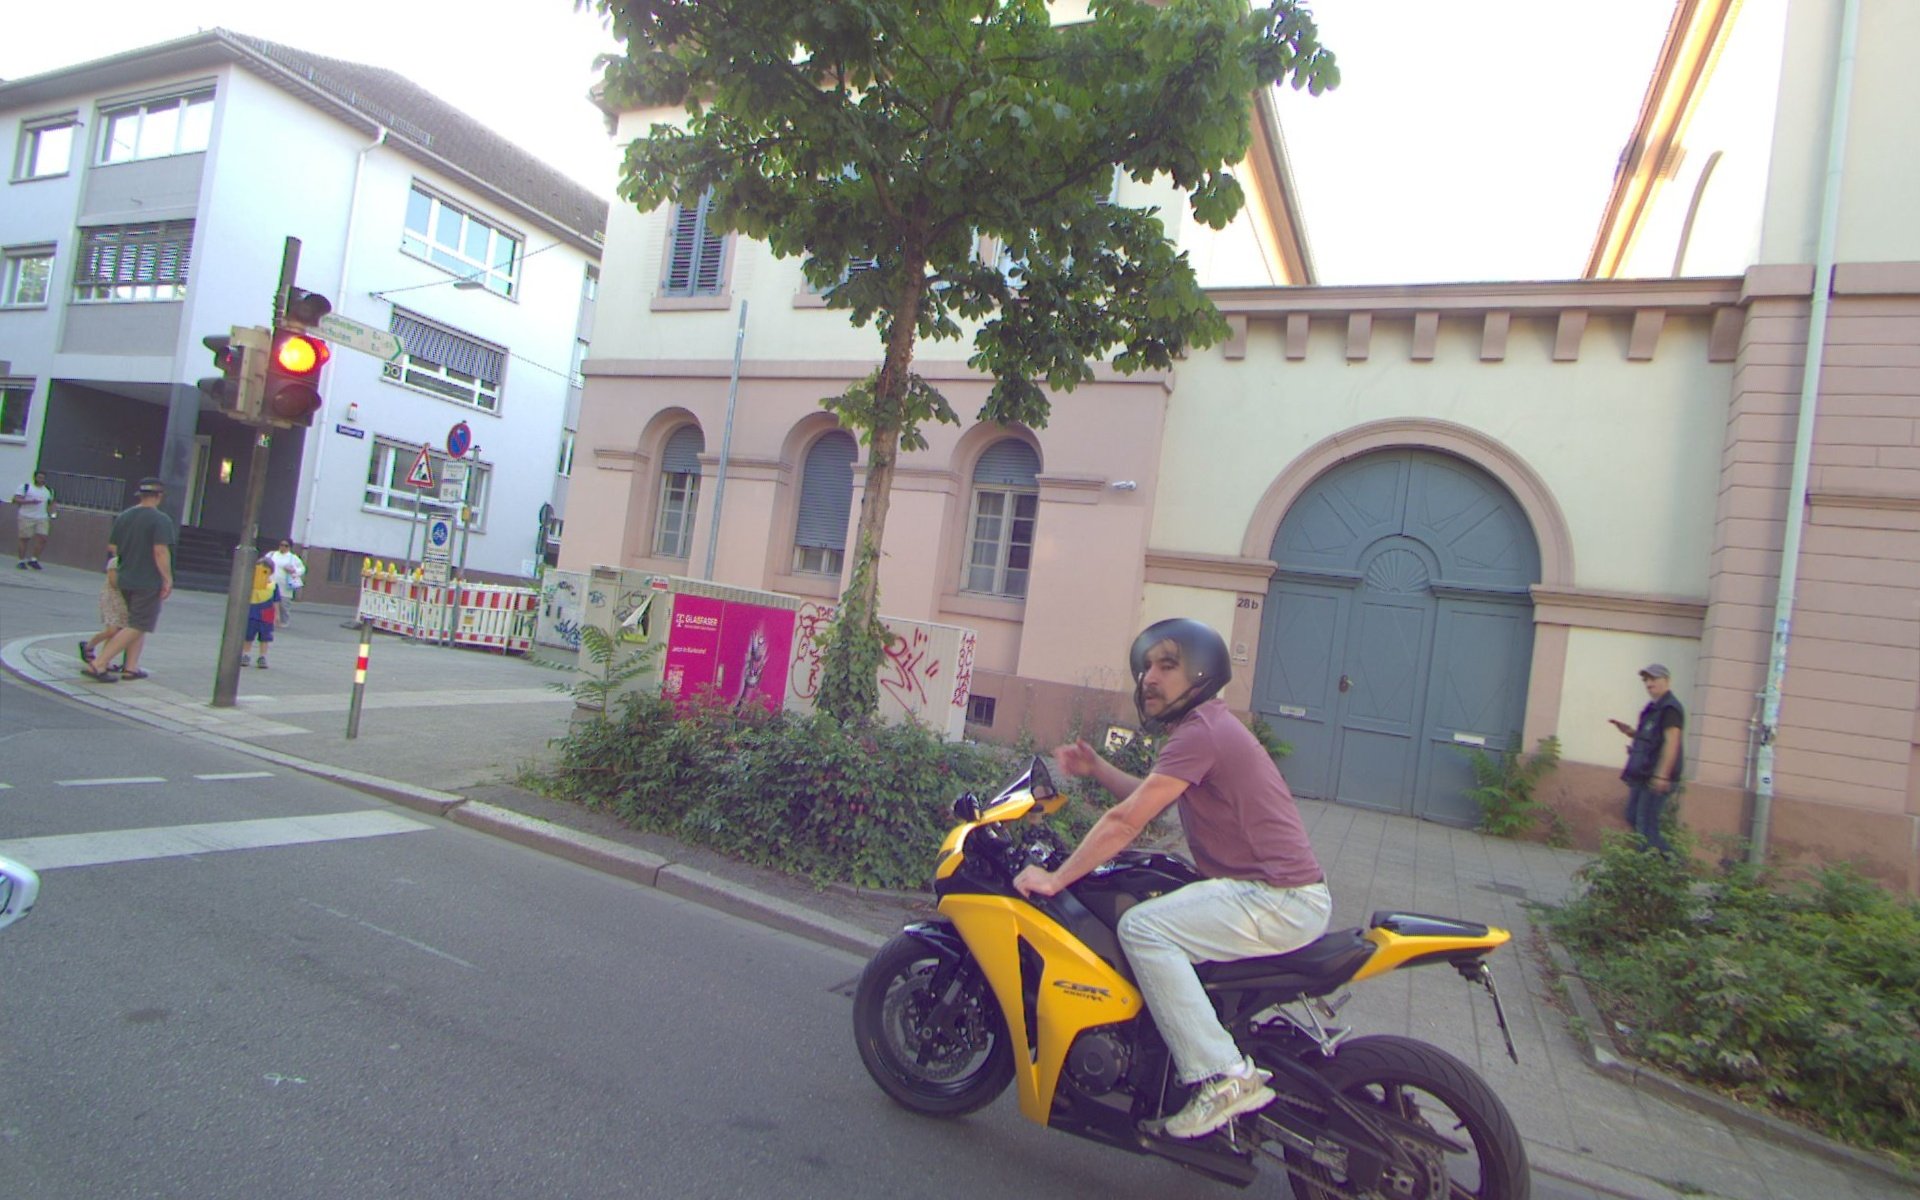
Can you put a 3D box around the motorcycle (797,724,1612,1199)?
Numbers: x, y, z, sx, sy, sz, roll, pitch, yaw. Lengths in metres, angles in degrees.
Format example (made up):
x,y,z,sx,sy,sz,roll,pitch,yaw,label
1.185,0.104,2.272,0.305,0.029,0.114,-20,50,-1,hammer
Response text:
x,y,z,sx,sy,sz,roll,pitch,yaw,label
0.633,1.109,2.963,1.931,1.173,0.794,7,-3,23,motorcycle

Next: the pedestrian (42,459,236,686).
x,y,z,sx,sy,sz,roll,pitch,yaw,label
-7.254,-0.223,8.920,0.780,1.836,0.891,8,-1,26,pedestrian

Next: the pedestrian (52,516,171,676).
x,y,z,sx,sy,sz,roll,pitch,yaw,label
-7.718,-0.028,9.157,0.498,1.351,0.540,8,-1,31,pedestrian

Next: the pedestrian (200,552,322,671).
x,y,z,sx,sy,sz,roll,pitch,yaw,label
-7.435,0.125,10.711,0.821,1.134,0.567,8,0,17,pedestrian

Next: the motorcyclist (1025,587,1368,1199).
x,y,z,sx,sy,sz,roll,pitch,yaw,label
0.735,0.759,2.952,0.686,1.435,0.794,7,-2,22,motorcyclist

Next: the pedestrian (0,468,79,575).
x,y,z,sx,sy,sz,roll,pitch,yaw,label
-17.733,-1.497,19.284,0.927,1.862,0.769,8,-1,27,pedestrian

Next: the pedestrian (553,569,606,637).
x,y,z,sx,sy,sz,roll,pitch,yaw,label
-10.916,0.090,28.867,0.917,1.771,0.771,8,-1,27,pedestrian

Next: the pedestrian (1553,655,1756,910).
x,y,z,sx,sy,sz,roll,pitch,yaw,label
5.761,1.458,8.433,1.063,1.862,0.800,8,2,24,pedestrian

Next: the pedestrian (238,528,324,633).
x,y,z,sx,sy,sz,roll,pitch,yaw,label
-10.797,-0.303,16.024,0.766,1.518,0.798,9,-1,-20,pedestrian
